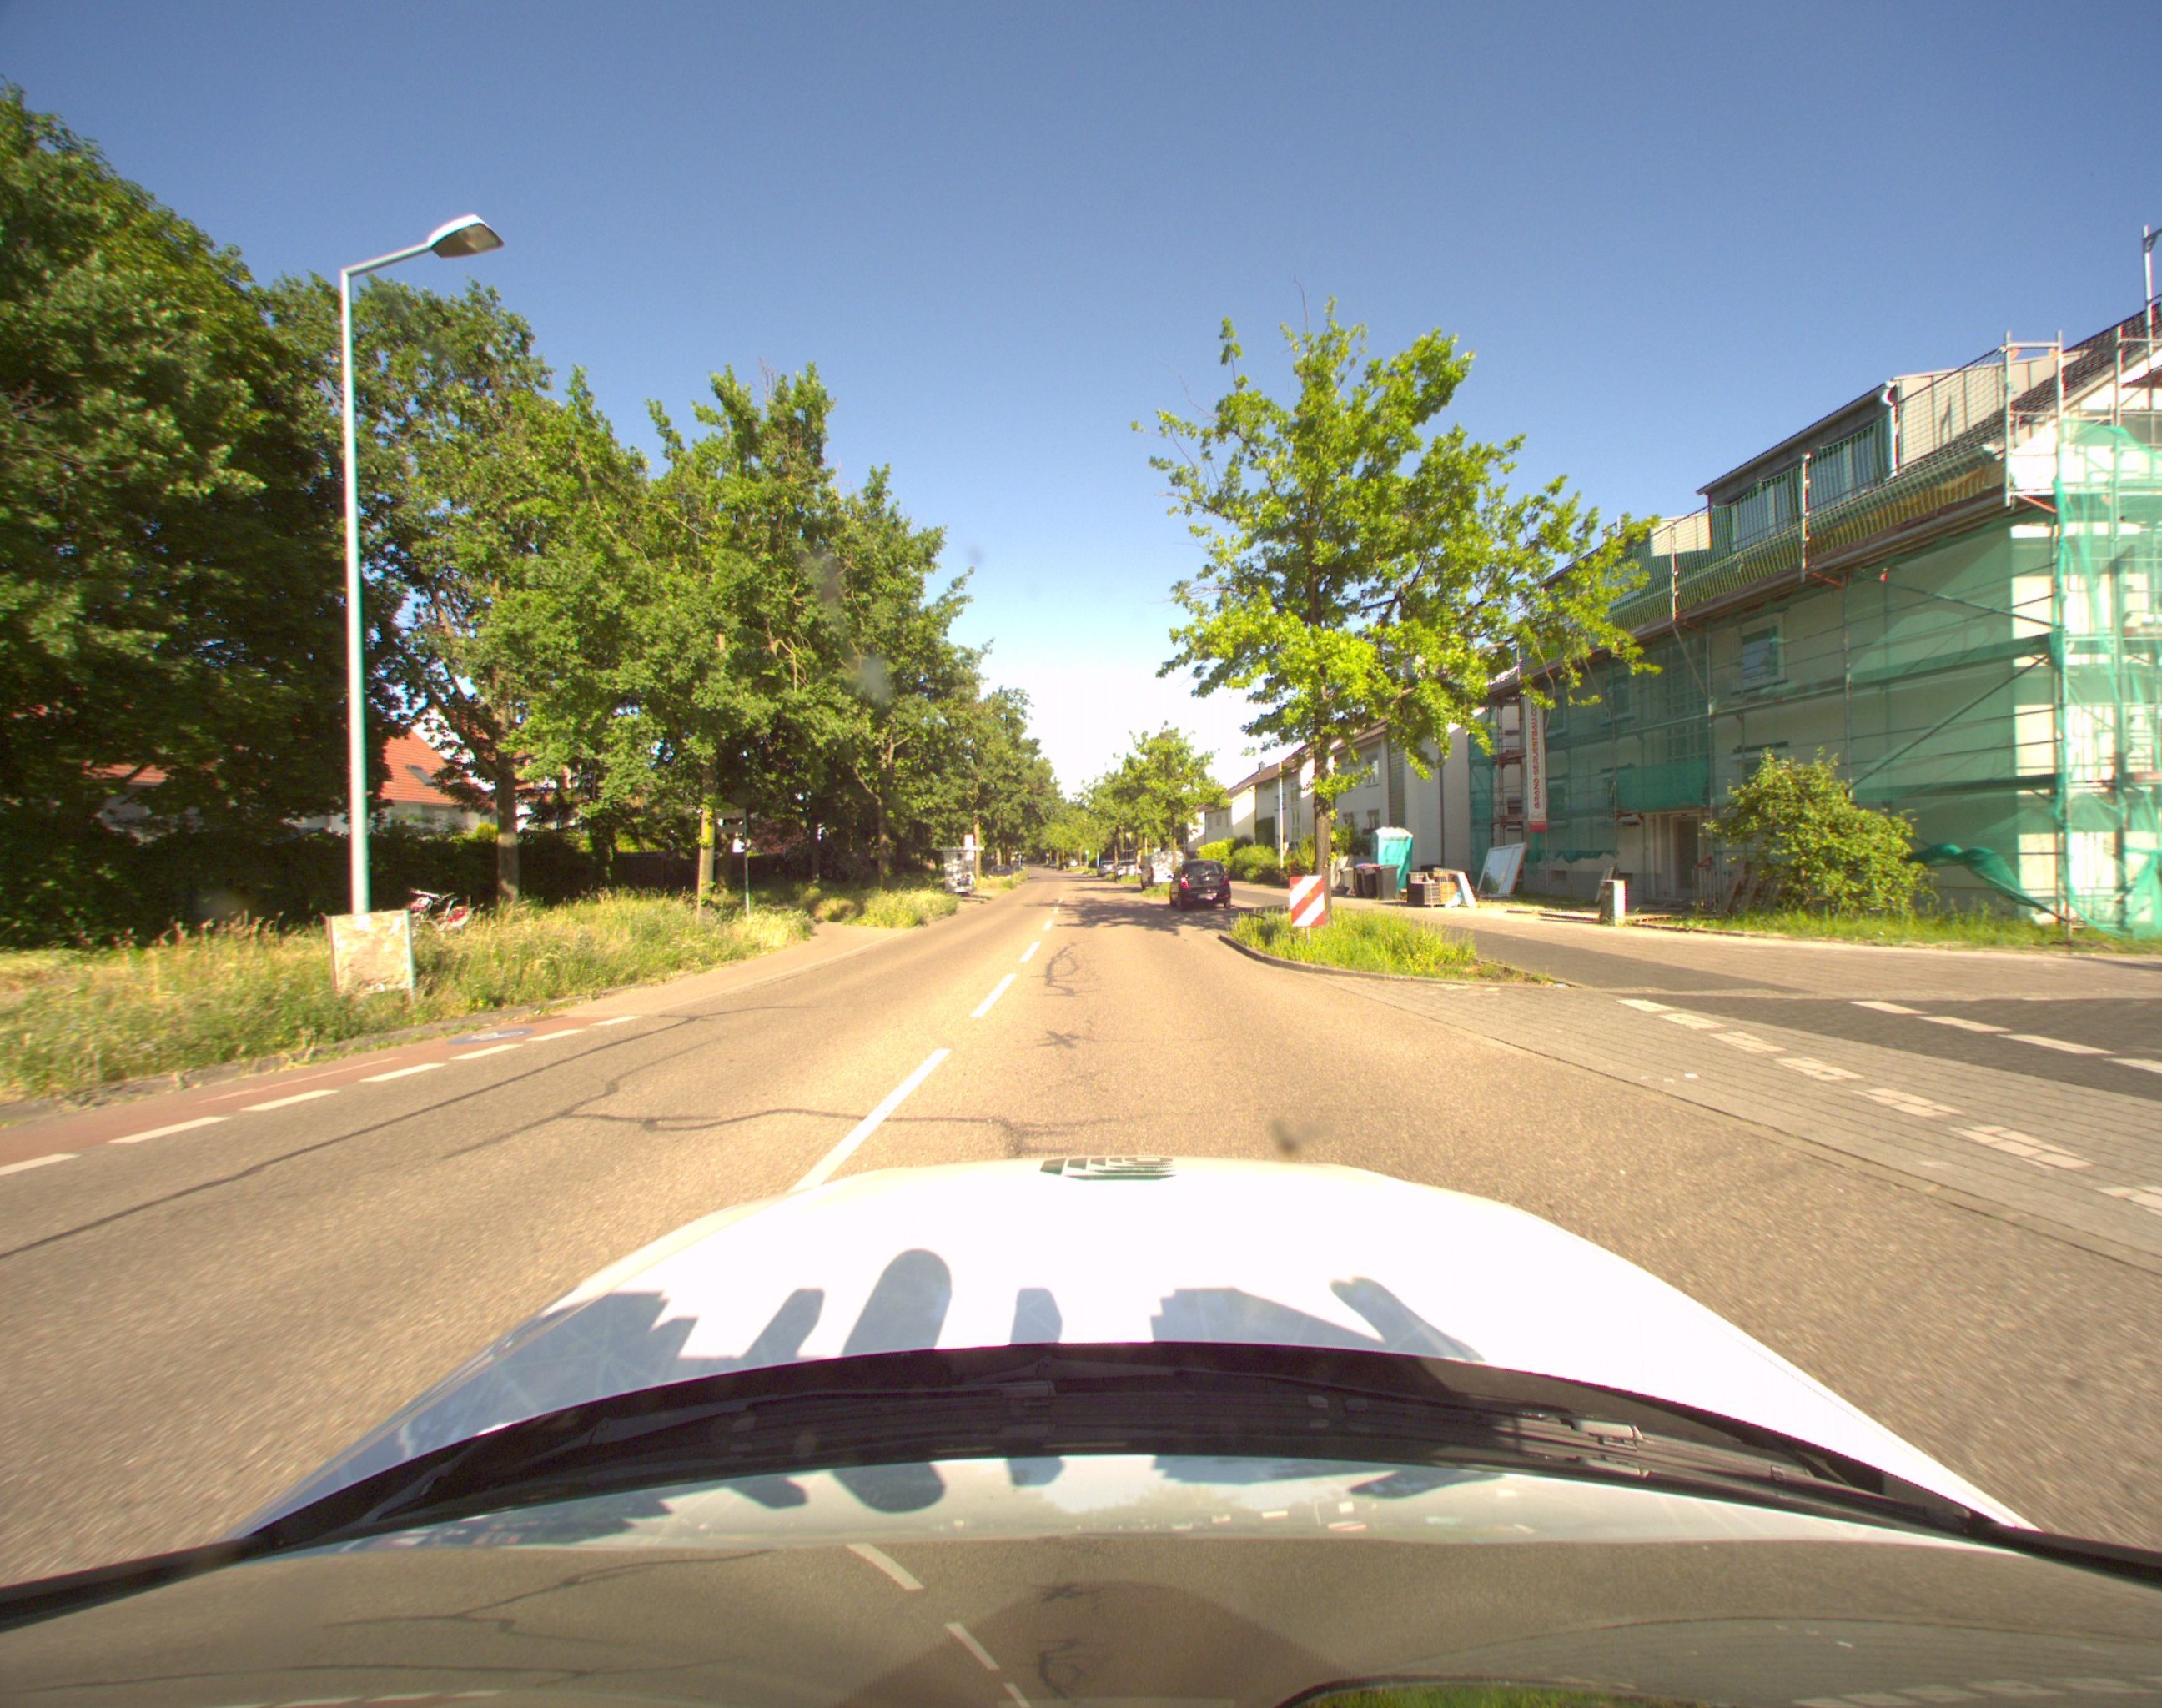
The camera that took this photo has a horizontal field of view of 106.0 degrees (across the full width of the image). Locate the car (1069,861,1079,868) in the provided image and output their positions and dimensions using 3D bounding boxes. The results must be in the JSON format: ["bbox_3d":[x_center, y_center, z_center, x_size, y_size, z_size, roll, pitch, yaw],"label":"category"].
[{"bbox_3d":[-1.556,2.341,179.260,1.929,1.454,3.995,-1,-1,-3],"label":"car"}]

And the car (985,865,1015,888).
[{"bbox_3d":[-5.600,1.526,56.630,1.932,1.479,3.994,-1,-1,-4],"label":"car"}]

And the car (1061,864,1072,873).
[{"bbox_3d":[-2.785,2.731,153.069,1.928,1.542,3.996,-1,-1,-2],"label":"car"}]

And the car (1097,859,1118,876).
[{"bbox_3d":[2.693,1.378,84.125,1.928,1.742,3.996,-1,-1,-2],"label":"car"}]

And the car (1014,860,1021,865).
[{"bbox_3d":[-18.539,2.604,238.854,1.929,1.454,3.995,-1,-1,-3],"label":"car"}]

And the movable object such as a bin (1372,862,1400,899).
[{"bbox_3d":[9.269,0.799,24.771,0.602,1.069,0.646,-1,-1,-1],"label":"movable object such as a bin"}]

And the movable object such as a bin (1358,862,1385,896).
[{"bbox_3d":[9.162,0.787,25.720,0.602,1.069,0.646,-1,-1,-1],"label":"movable object such as a bin"}]

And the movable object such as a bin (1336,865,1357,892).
[{"bbox_3d":[9.323,0.855,28.591,0.528,0.932,0.549,-1,-1,-1],"label":"movable object such as a bin"}]

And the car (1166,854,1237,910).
[{"bbox_3d":[3.792,0.858,26.232,1.667,1.579,3.751,-3,-1,0],"label":"car"}]

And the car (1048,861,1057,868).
[{"bbox_3d":[-6.301,2.264,181.600,1.929,1.454,3.995,-1,-1,-3],"label":"car"}]

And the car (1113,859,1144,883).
[{"bbox_3d":[3.537,1.253,61.556,1.931,1.704,3.996,-1,-1,-2],"label":"car"}]

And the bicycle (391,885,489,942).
[{"bbox_3d":[-13.248,1.206,16.907,0.503,1.053,1.880,-1,-1,1],"label":"bicycle"}]

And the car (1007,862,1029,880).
[{"bbox_3d":[-5.766,1.539,75.126,1.990,1.557,3.994,0,-1,-4],"label":"car"}]

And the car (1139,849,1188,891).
[{"bbox_3d":[4.112,0.813,41.514,1.831,1.971,4.754,-1,-1,-2],"label":"car"}]

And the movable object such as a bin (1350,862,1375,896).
[{"bbox_3d":[9.204,0.805,26.623,0.602,1.069,0.567,-1,-1,-1],"label":"movable object such as a bin"}]
